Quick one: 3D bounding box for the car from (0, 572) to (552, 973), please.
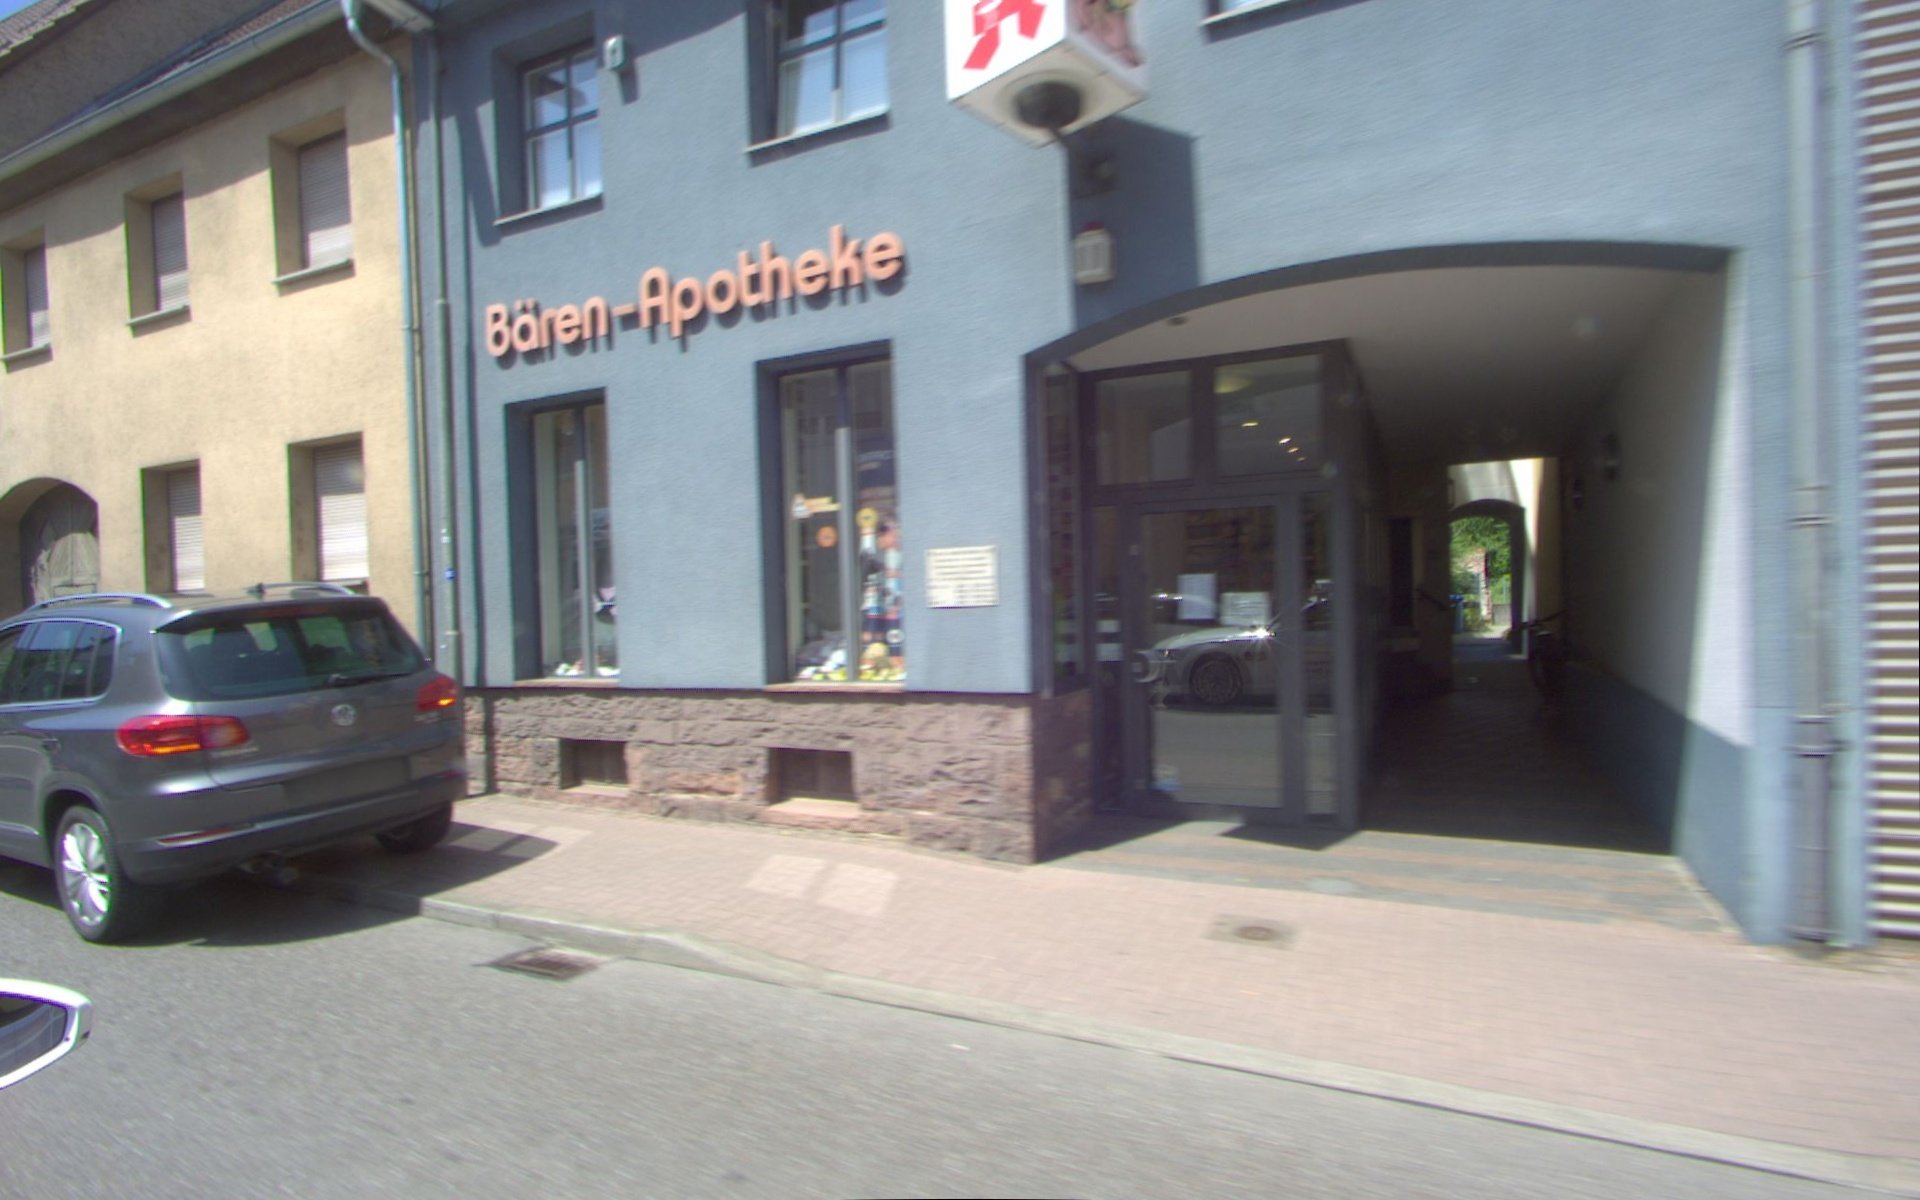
[{"bbox_3d":[-4.754,0.763,6.219,4.039,1.732,1.990,-1,2,30],"label":"car"}]

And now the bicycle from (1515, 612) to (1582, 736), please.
[{"bbox_3d":[6.234,0.727,10.661,0.506,1.080,2.060,0,2,27],"label":"bicycle"}]
